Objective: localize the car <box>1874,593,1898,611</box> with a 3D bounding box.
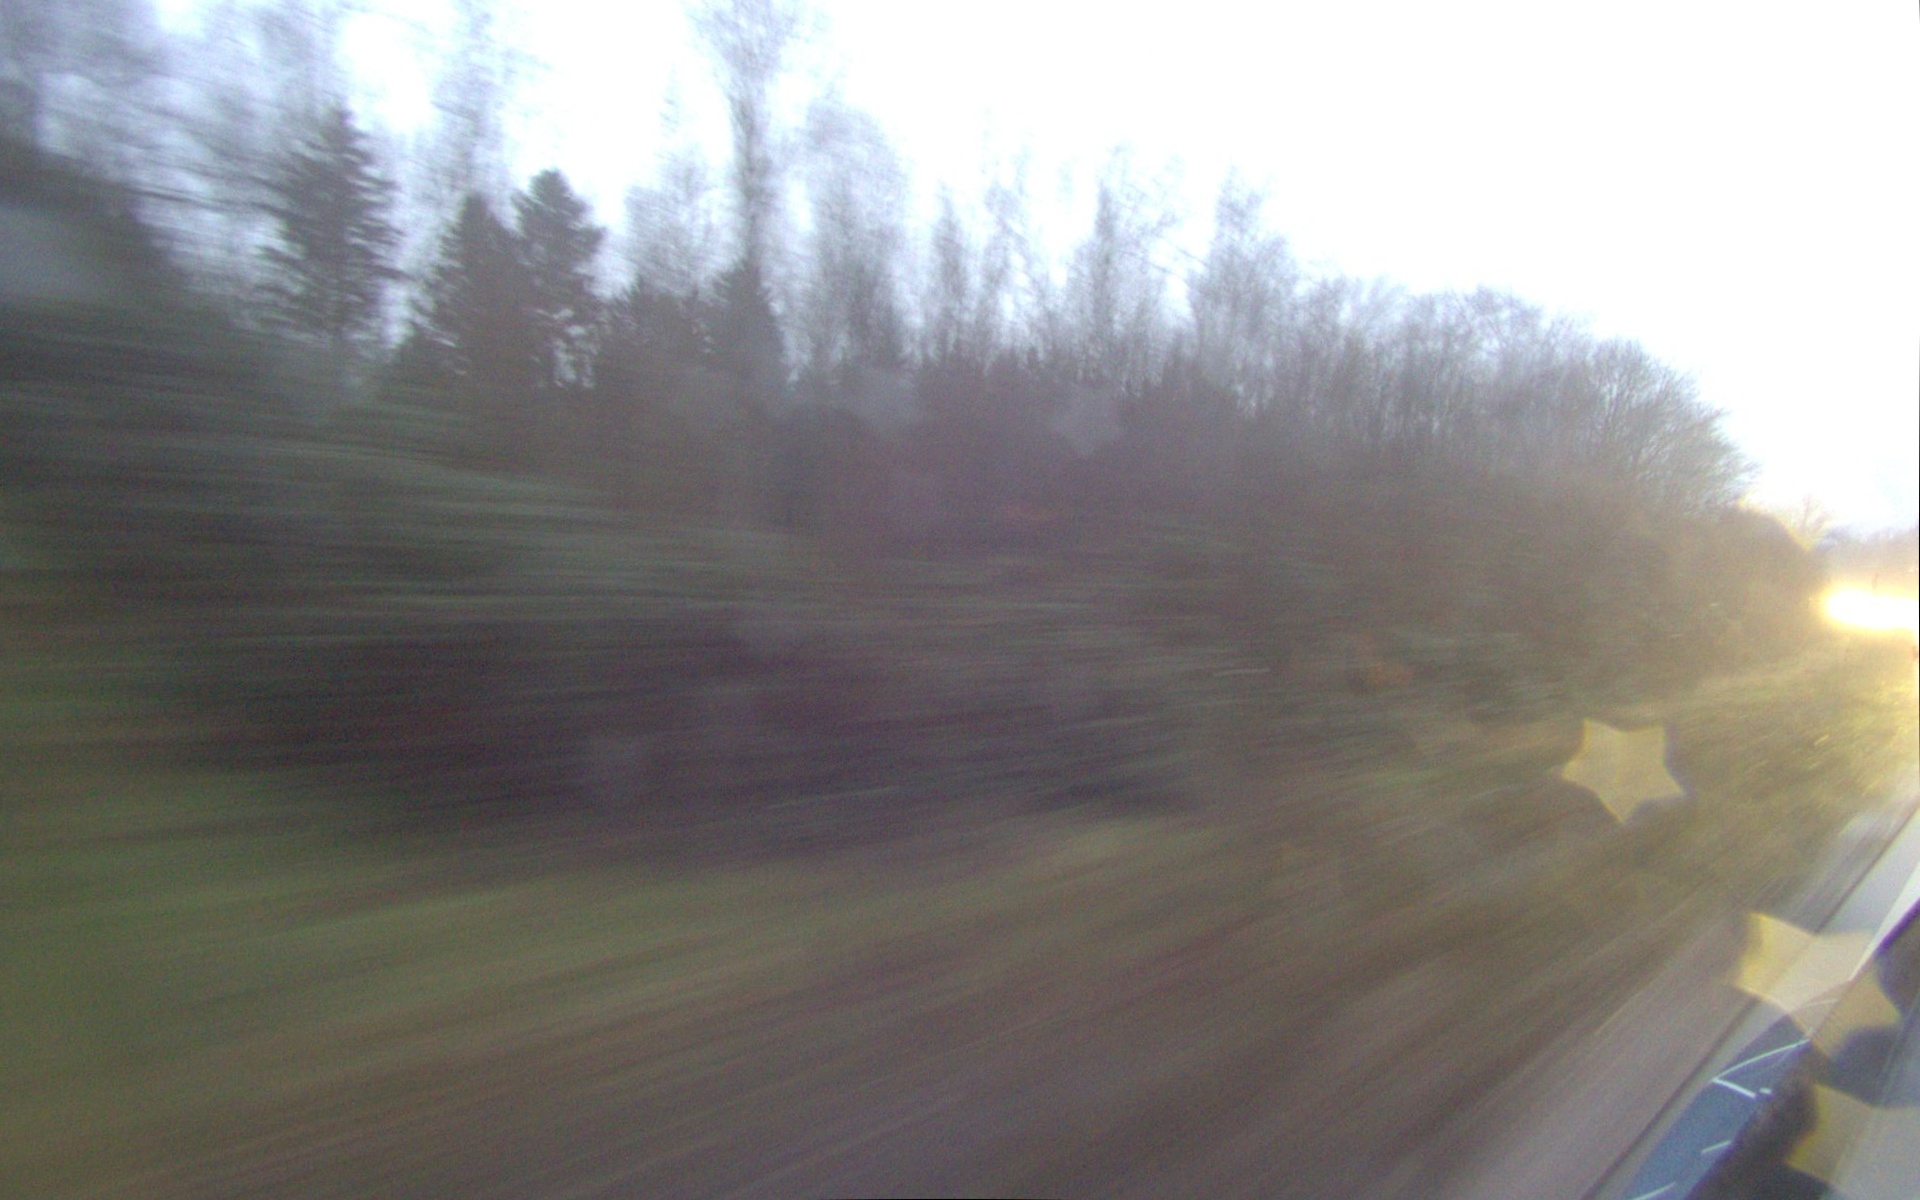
[{"bbox_3d":[96.876,0.201,105.884,1.695,1.752,3.943,-1,1,40],"label":"car"}]
